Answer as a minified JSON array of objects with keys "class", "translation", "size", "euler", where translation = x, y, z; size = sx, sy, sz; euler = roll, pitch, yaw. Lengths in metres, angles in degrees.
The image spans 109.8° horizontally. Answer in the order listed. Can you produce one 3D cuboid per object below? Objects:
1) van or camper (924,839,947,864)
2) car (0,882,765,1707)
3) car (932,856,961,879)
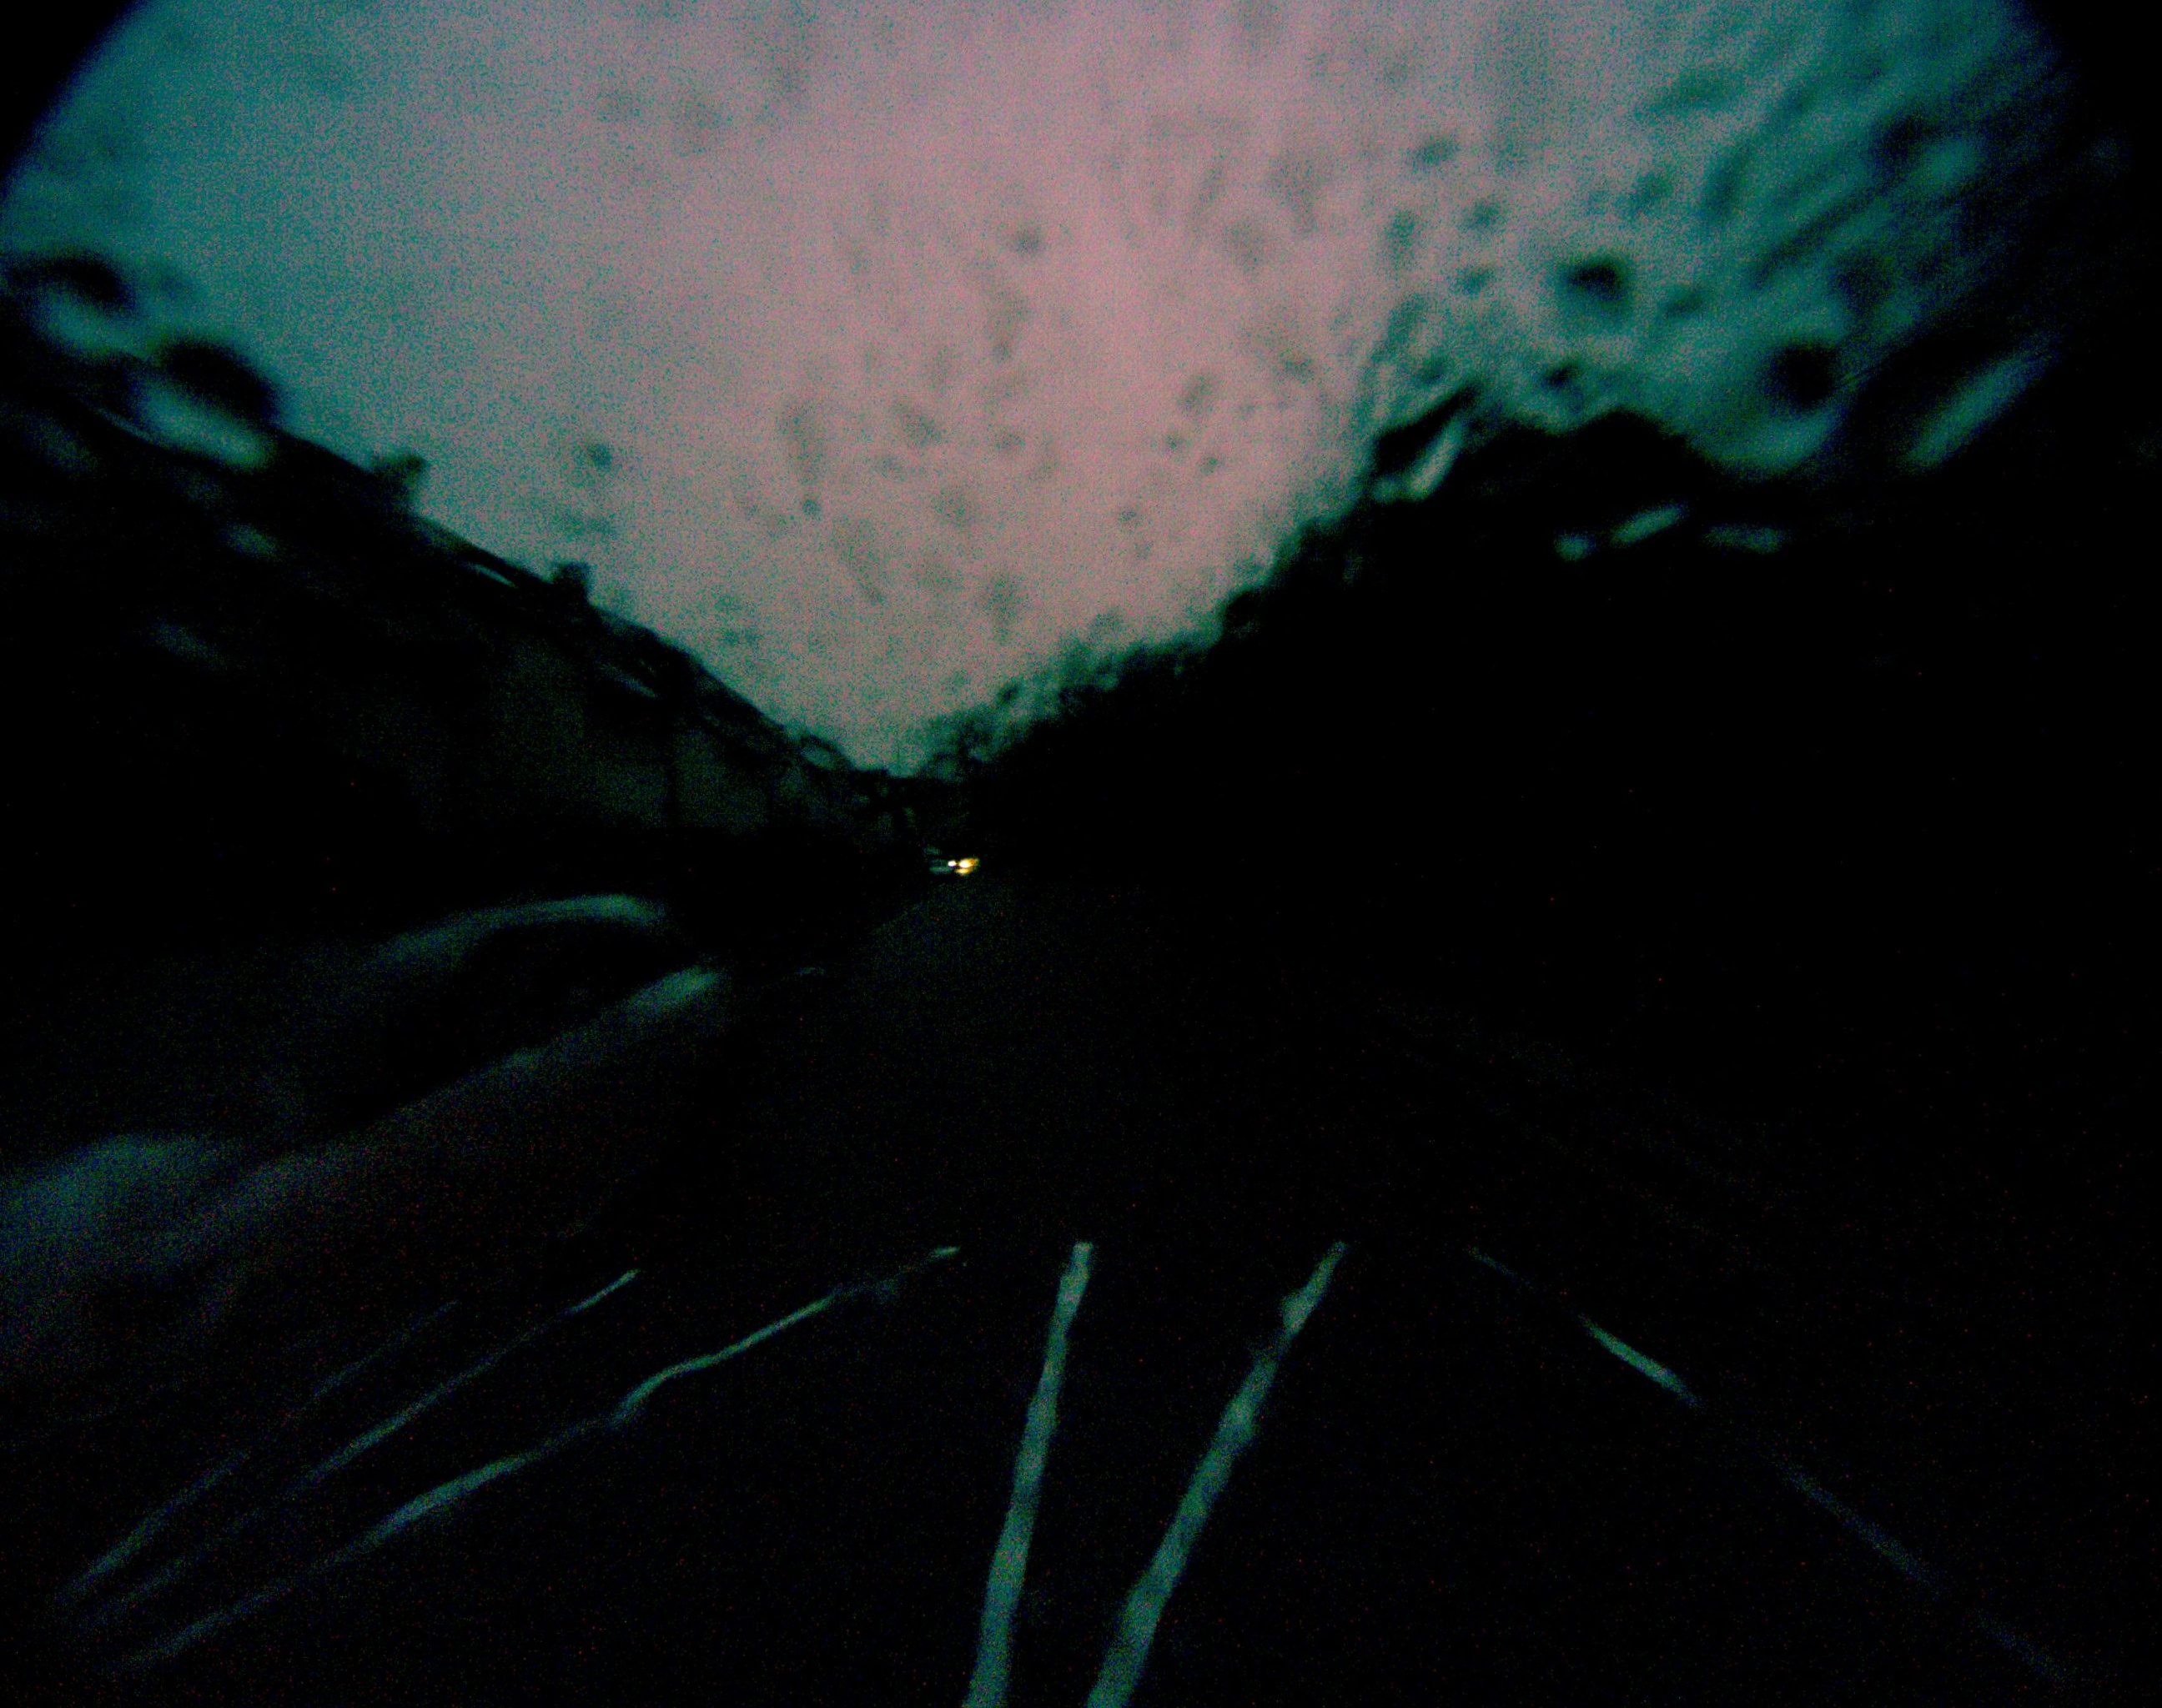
[{"class":"van or camper","translation":[-15.332,-0.249,79.619],"size":[2.022,2.493,6.784],"euler":[-1,0,-14]},{"class":"car","translation":[-2.638,0.979,2.421],"size":[1.708,1.497,4.023],"euler":[-3,1,-3]},{"class":"car","translation":[-9.637,0.959,54.258],"size":[1.744,1.421,4.451],"euler":[-4,1,-13]}]
